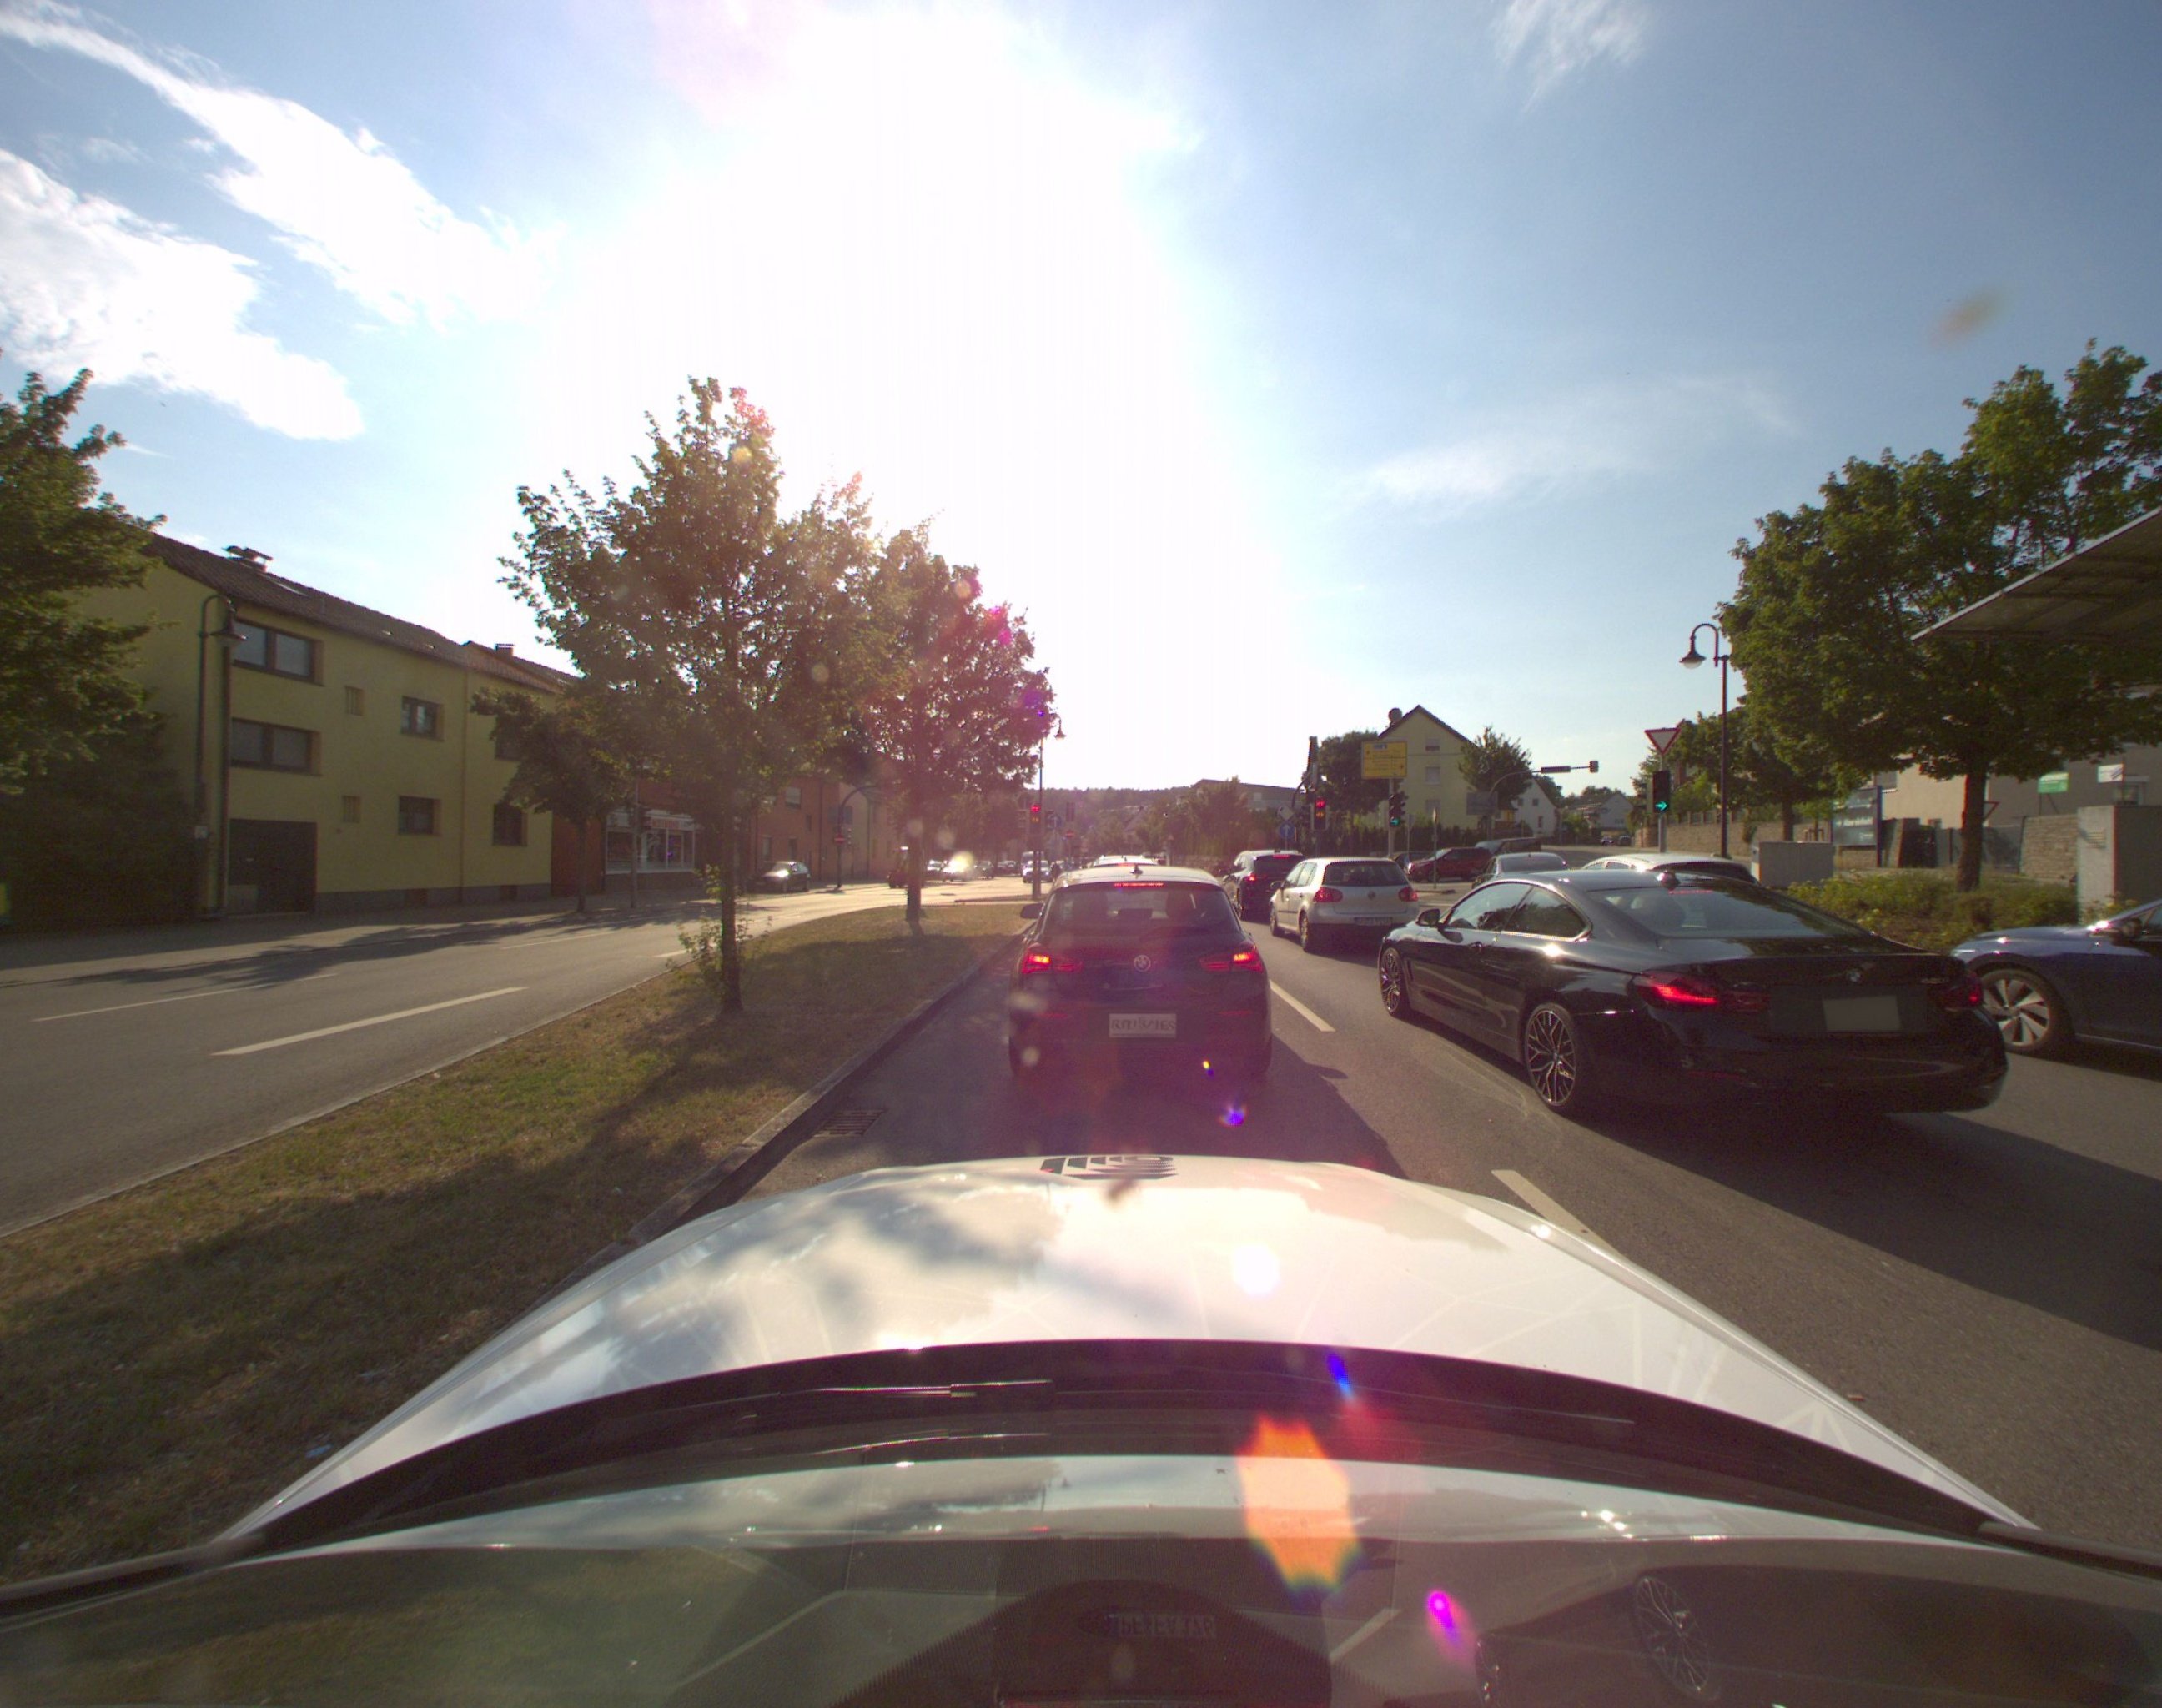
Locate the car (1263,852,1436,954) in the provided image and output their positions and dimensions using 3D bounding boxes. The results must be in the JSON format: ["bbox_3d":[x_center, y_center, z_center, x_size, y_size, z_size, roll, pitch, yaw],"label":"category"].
[{"bbox_3d":[4.327,0.709,13.782,1.755,1.426,3.905,-2,0,2],"label":"car"}]

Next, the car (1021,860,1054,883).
[{"bbox_3d":[-2.948,1.147,55.756,1.832,1.482,4.002,-1,0,2],"label":"car"}]

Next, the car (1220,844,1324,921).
[{"bbox_3d":[4.574,0.642,20.064,1.755,1.656,3.905,-2,0,2],"label":"car"}]

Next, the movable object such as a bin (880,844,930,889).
[{"bbox_3d":[-10.075,0.682,46.930,1.729,2.442,4.452,-1,0,3],"label":"movable object such as a bin"}]

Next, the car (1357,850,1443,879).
[{"bbox_3d":[17.350,0.560,44.380,3.974,1.489,1.848,0,0,-1],"label":"car"}]

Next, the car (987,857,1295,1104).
[{"bbox_3d":[0.448,0.766,6.987,1.781,1.397,4.283,-2,0,2],"label":"car"}]

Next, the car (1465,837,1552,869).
[{"bbox_3d":[24.547,-0.057,46.758,4.790,1.739,1.834,0,0,-24],"label":"car"}]

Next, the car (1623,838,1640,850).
[{"bbox_3d":[87.029,-1.588,128.774,1.945,1.680,4.242,-2,0,36],"label":"car"}]

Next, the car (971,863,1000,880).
[{"bbox_3d":[-8.620,1.558,73.760,1.729,1.301,3.804,4,0,5],"label":"car"}]

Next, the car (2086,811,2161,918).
[{"bbox_3d":[18.499,0.149,12.405,3.793,1.632,1.784,0,0,10],"label":"car"}]

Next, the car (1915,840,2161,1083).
[{"bbox_3d":[7.412,0.644,4.295,1.754,1.453,4.323,-2,0,4],"label":"car"}]

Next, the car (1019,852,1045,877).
[{"bbox_3d":[-4.888,1.065,82.386,2.076,2.394,5.531,0,0,2],"label":"car"}]

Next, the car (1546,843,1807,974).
[{"bbox_3d":[8.116,0.663,11.484,1.608,1.542,3.326,-2,0,9],"label":"car"}]

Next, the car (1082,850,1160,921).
[{"bbox_3d":[1.026,0.733,21.170,1.781,1.594,4.283,-2,0,2],"label":"car"}]

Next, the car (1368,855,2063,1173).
[{"bbox_3d":[3.626,0.732,5.842,1.755,1.397,4.283,-2,0,2],"label":"car"}]

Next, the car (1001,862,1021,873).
[{"bbox_3d":[-8.839,1.682,103.277,1.729,1.301,3.804,4,0,5],"label":"car"}]

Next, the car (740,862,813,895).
[{"bbox_3d":[-14.134,1.108,38.050,1.730,1.301,4.002,4,0,2],"label":"car"}]

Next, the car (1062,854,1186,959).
[{"bbox_3d":[0.725,0.773,14.131,1.781,1.494,4.283,-2,0,2],"label":"car"}]

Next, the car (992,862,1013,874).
[{"bbox_3d":[-9.346,1.644,97.587,1.729,1.301,3.804,4,0,5],"label":"car"}]

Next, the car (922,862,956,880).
[{"bbox_3d":[-11.741,1.418,67.613,1.728,1.301,4.006,4,0,6],"label":"car"}]

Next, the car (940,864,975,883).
[{"bbox_3d":[-9.488,1.472,62.697,1.729,1.301,3.804,4,0,5],"label":"car"}]

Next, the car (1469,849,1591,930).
[{"bbox_3d":[9.887,0.705,18.258,1.642,1.542,4.420,-2,0,19],"label":"car"}]

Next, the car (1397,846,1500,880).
[{"bbox_3d":[18.354,0.447,40.757,4.410,1.641,1.845,0,0,-6],"label":"car"}]

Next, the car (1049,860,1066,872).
[{"bbox_3d":[-3.066,1.590,107.244,1.831,1.482,4.004,-1,0,4],"label":"car"}]
